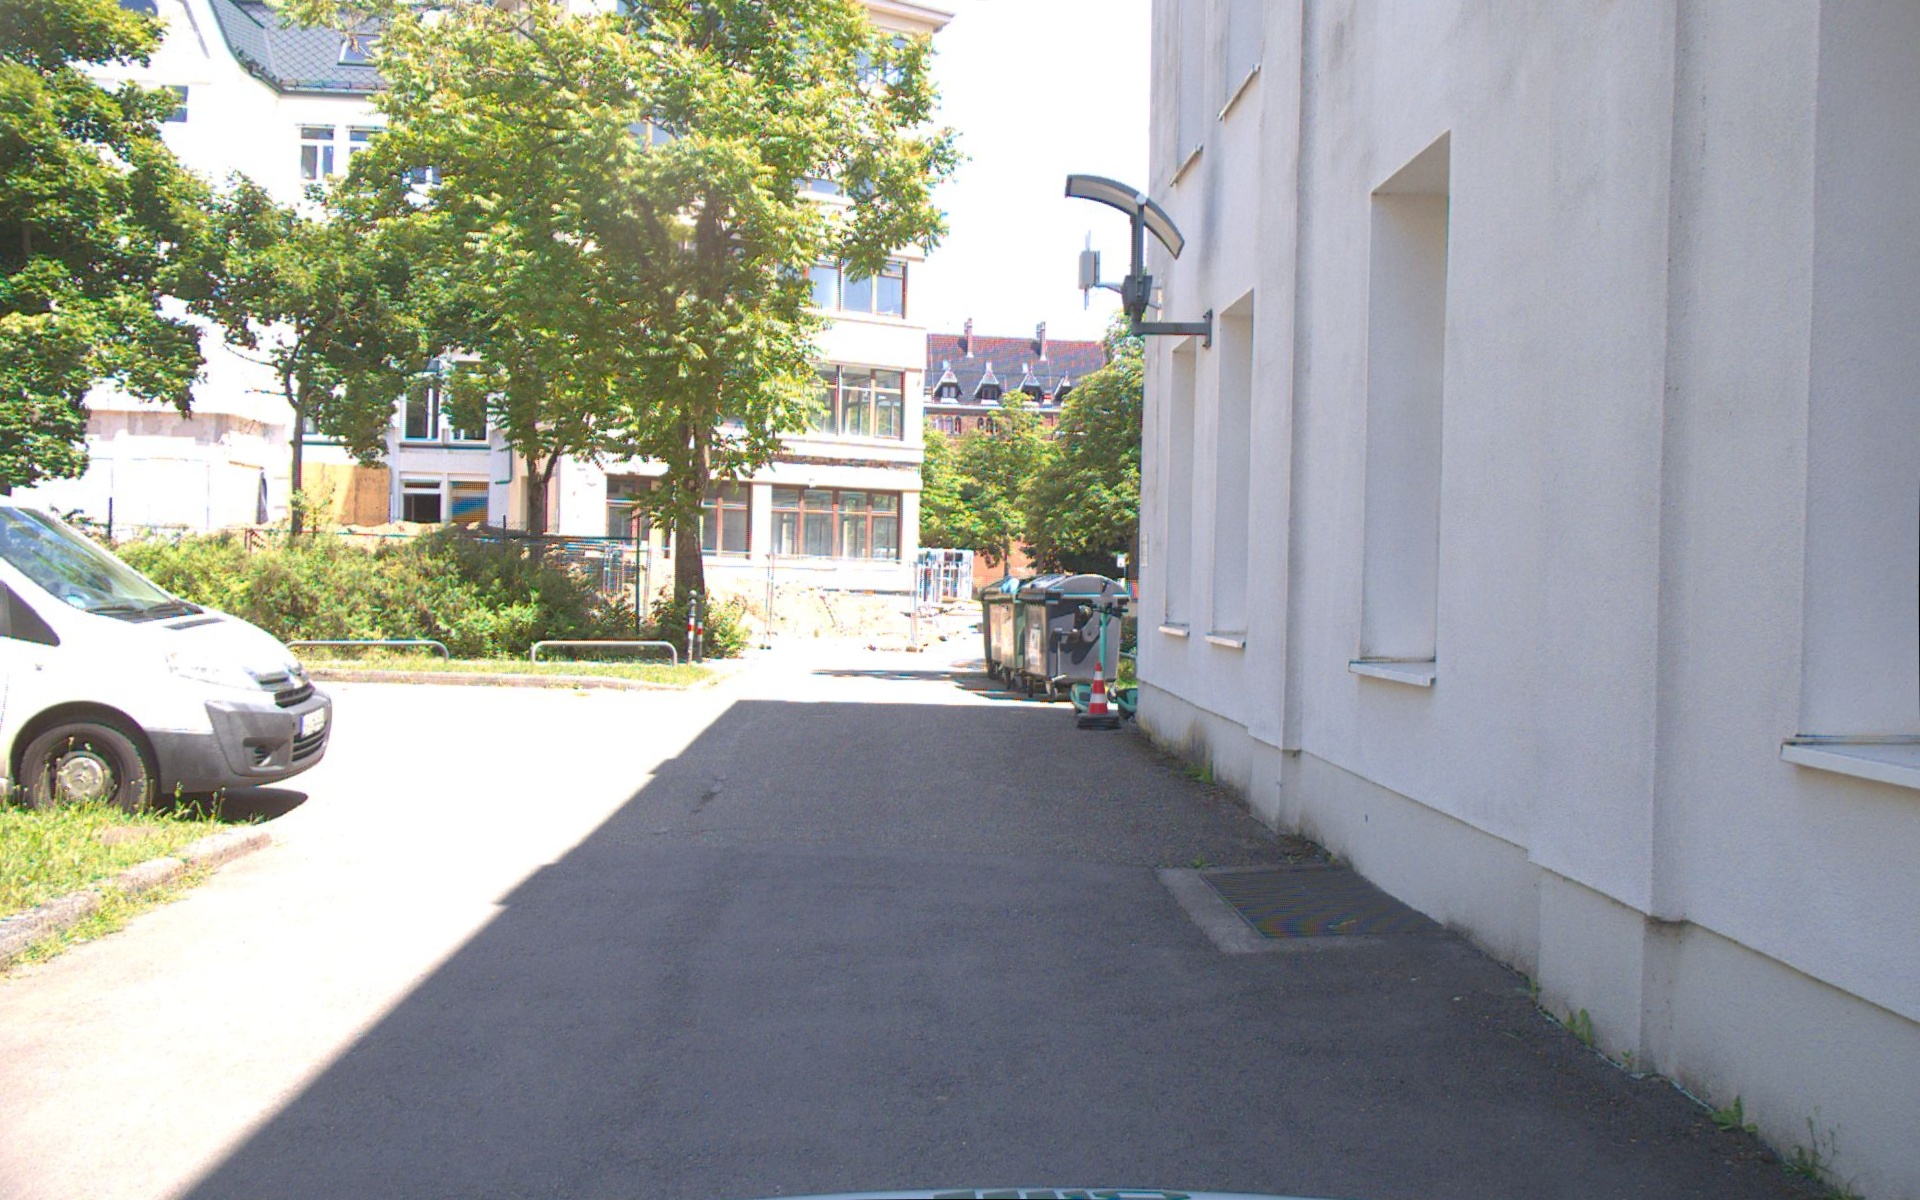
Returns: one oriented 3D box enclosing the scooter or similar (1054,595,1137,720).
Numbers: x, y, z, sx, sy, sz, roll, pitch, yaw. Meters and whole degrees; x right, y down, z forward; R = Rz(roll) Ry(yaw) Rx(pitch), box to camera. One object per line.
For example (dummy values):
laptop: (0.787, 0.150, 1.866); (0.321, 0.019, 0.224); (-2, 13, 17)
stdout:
scooter or similar: (1.346, 0.551, 16.612); (0.455, 1.194, 1.353); (1, 0, -11)

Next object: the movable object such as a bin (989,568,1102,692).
movable object such as a bin: (1.069, 0.374, 21.090); (1.157, 1.495, 1.309); (2, -1, -9)

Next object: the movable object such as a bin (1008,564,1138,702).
movable object such as a bin: (1.297, 0.378, 19.366); (1.134, 1.532, 1.458); (2, -1, -12)

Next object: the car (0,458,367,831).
car: (-6.076, 0.197, 9.473); (4.698, 1.944, 1.997); (1, 1, -8)

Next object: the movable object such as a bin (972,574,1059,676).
movable object such as a bin: (0.871, 0.381, 25.449); (1.154, 1.495, 1.334); (2, -1, 8)

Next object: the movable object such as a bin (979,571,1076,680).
movable object such as a bin: (0.961, 0.360, 23.913); (1.157, 1.495, 1.309); (2, -1, -8)

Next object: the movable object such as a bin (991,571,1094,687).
movable object such as a bin: (1.102, 0.387, 22.478); (1.156, 1.495, 1.309); (2, -1, -7)

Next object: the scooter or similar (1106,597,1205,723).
scooter or similar: (1.939, 0.577, 16.555); (0.457, 1.194, 1.249); (1, 0, -20)
